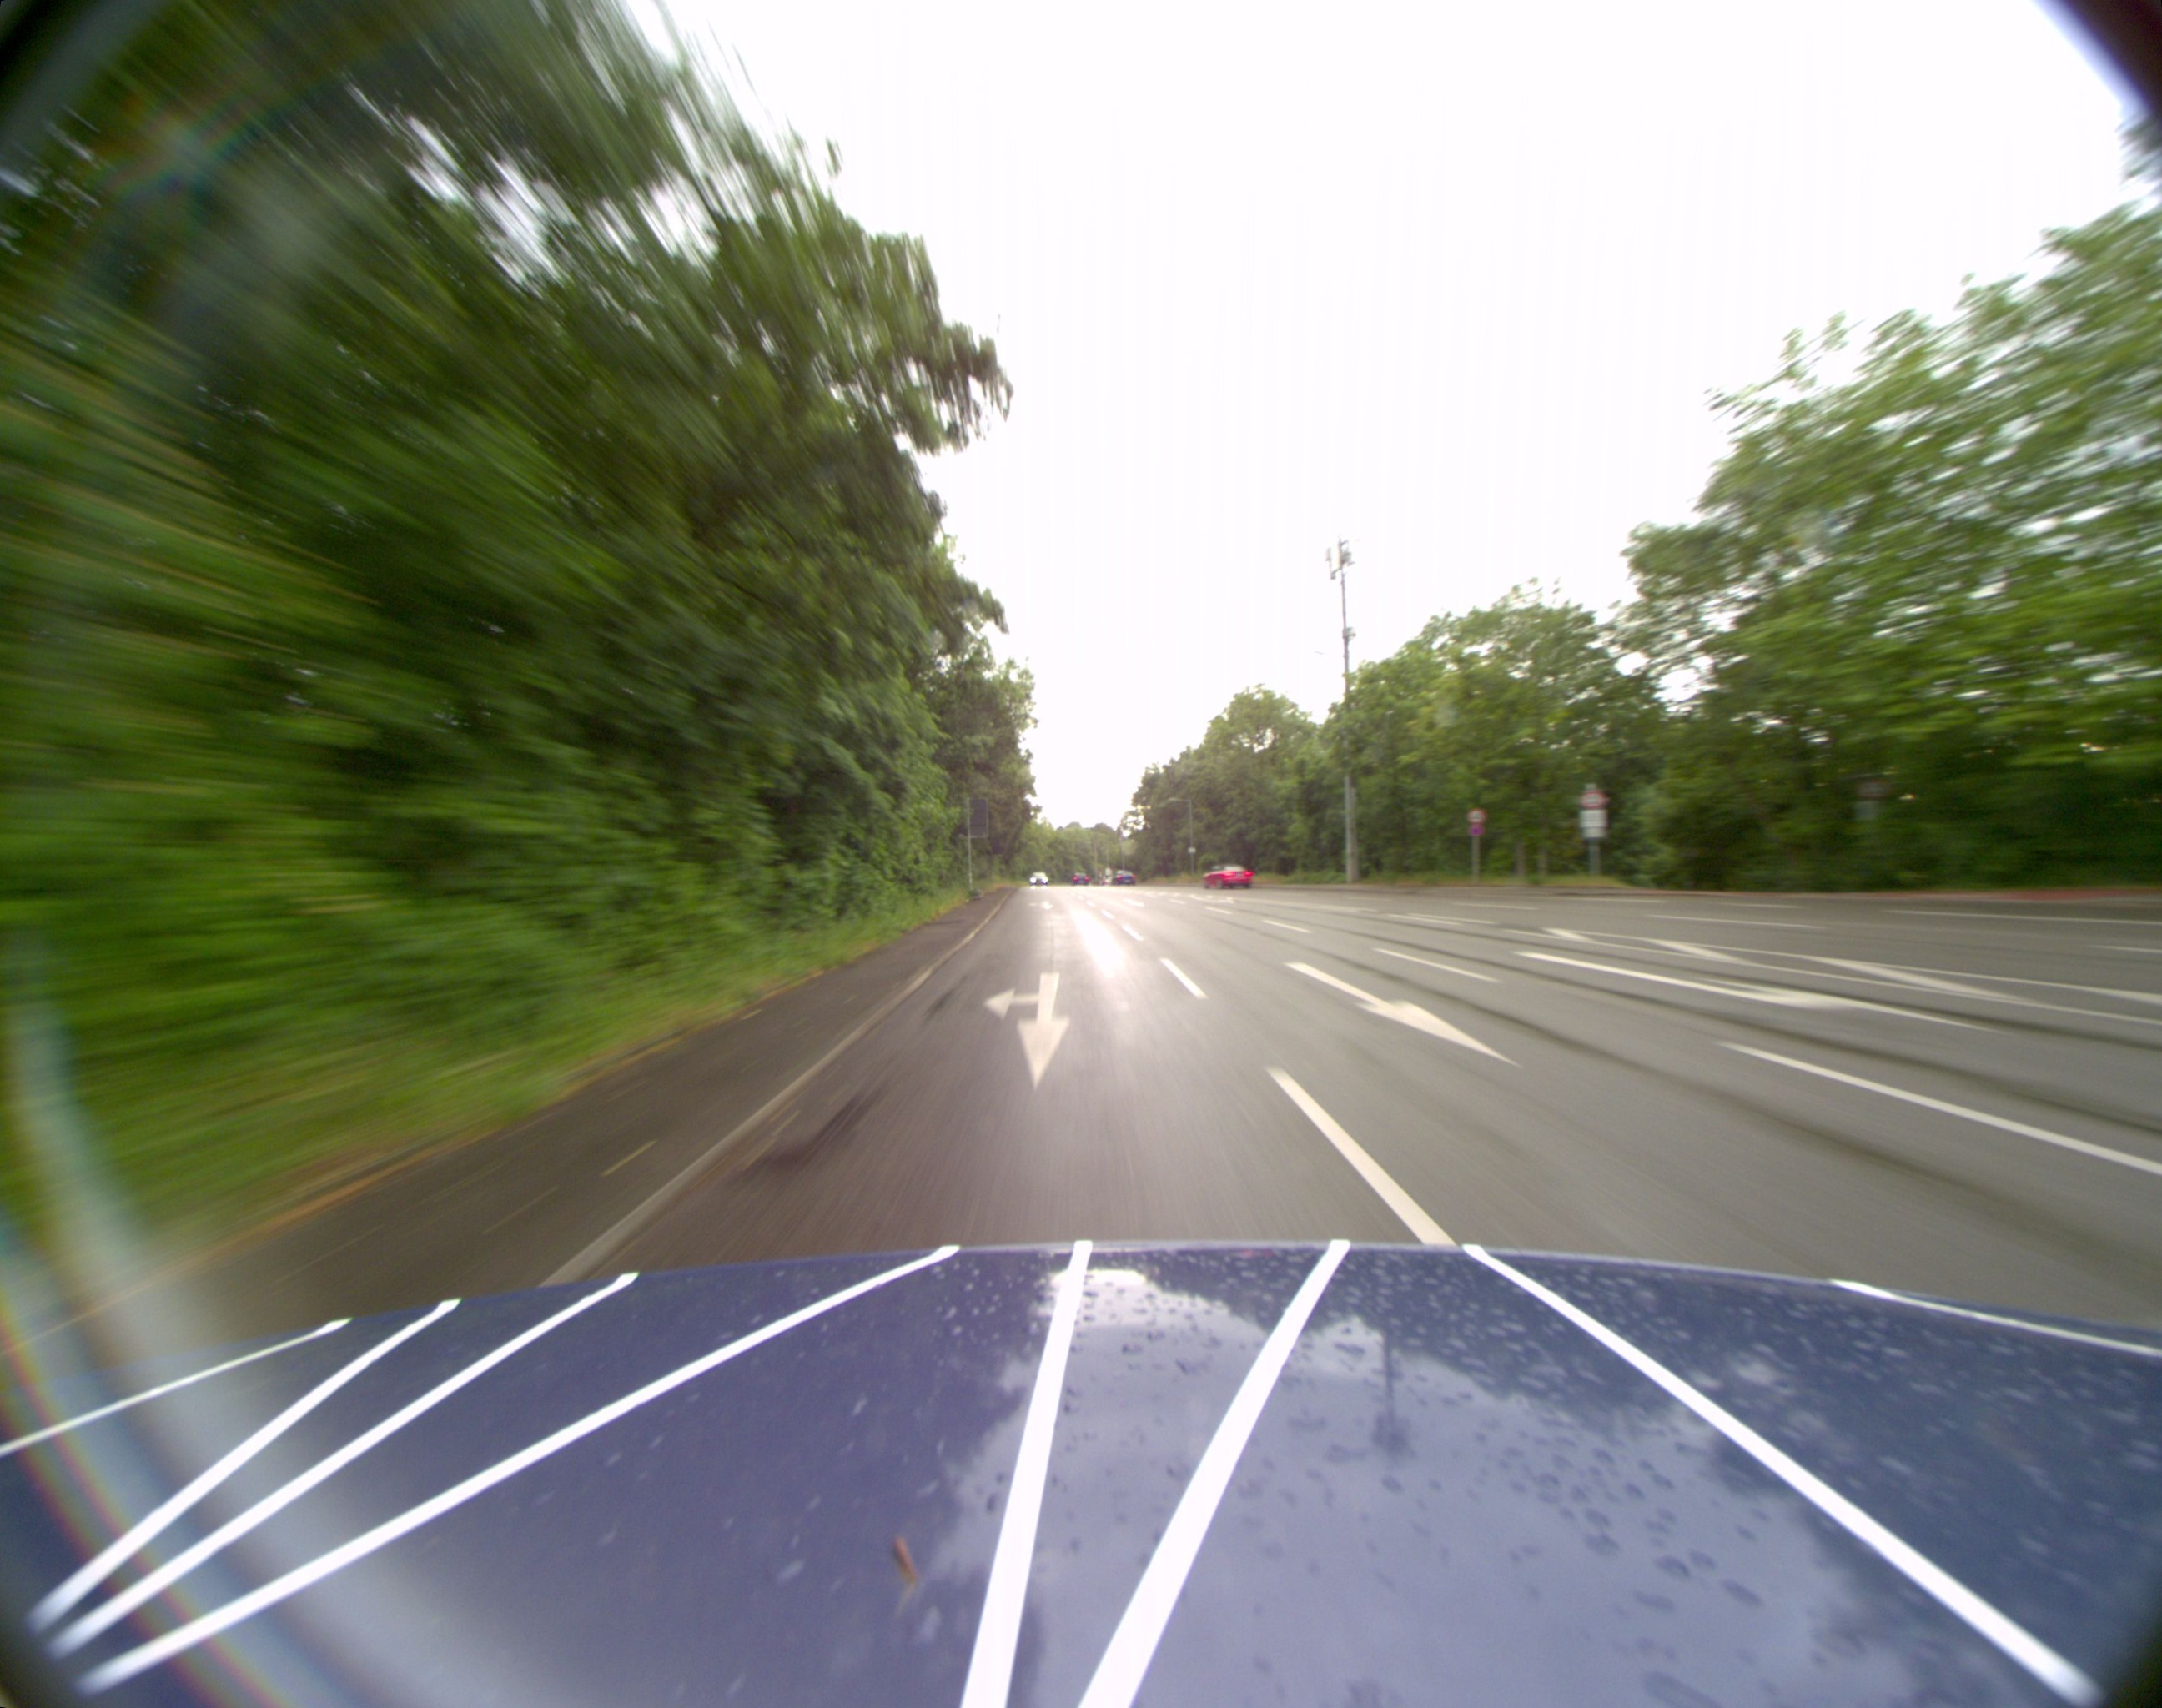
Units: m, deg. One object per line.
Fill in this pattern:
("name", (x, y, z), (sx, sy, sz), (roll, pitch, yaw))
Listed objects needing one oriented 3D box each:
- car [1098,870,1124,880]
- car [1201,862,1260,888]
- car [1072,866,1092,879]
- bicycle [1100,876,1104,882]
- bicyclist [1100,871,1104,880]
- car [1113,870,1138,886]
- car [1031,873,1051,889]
("car", (5.466, 3.832, 139.149), (4.753, 1.706, 1.895), (-2, -1, 1))
("car", (8.467, 1.168, 43.470), (1.881, 1.366, 4.382), (-2, -1, -9))
("car", (0.062, 2.147, 89.110), (1.706, 1.418, 4.076), (0, -1, -9))
("bicycle", (3.284, 4.029, 121.724), (0.453, 0.997, 2.017), (-3, -2, -3))
("bicyclist", (3.401, 3.447, 121.809), (0.580, 1.576, 0.700), (0, -1, -3))
("car", (4.300, 2.322, 73.939), (1.636, 1.386, 3.998), (-1, -1, -8))
("car", (-4.091, 2.794, 77.981), (1.999, 1.576, 4.000), (0, -1, -2))
